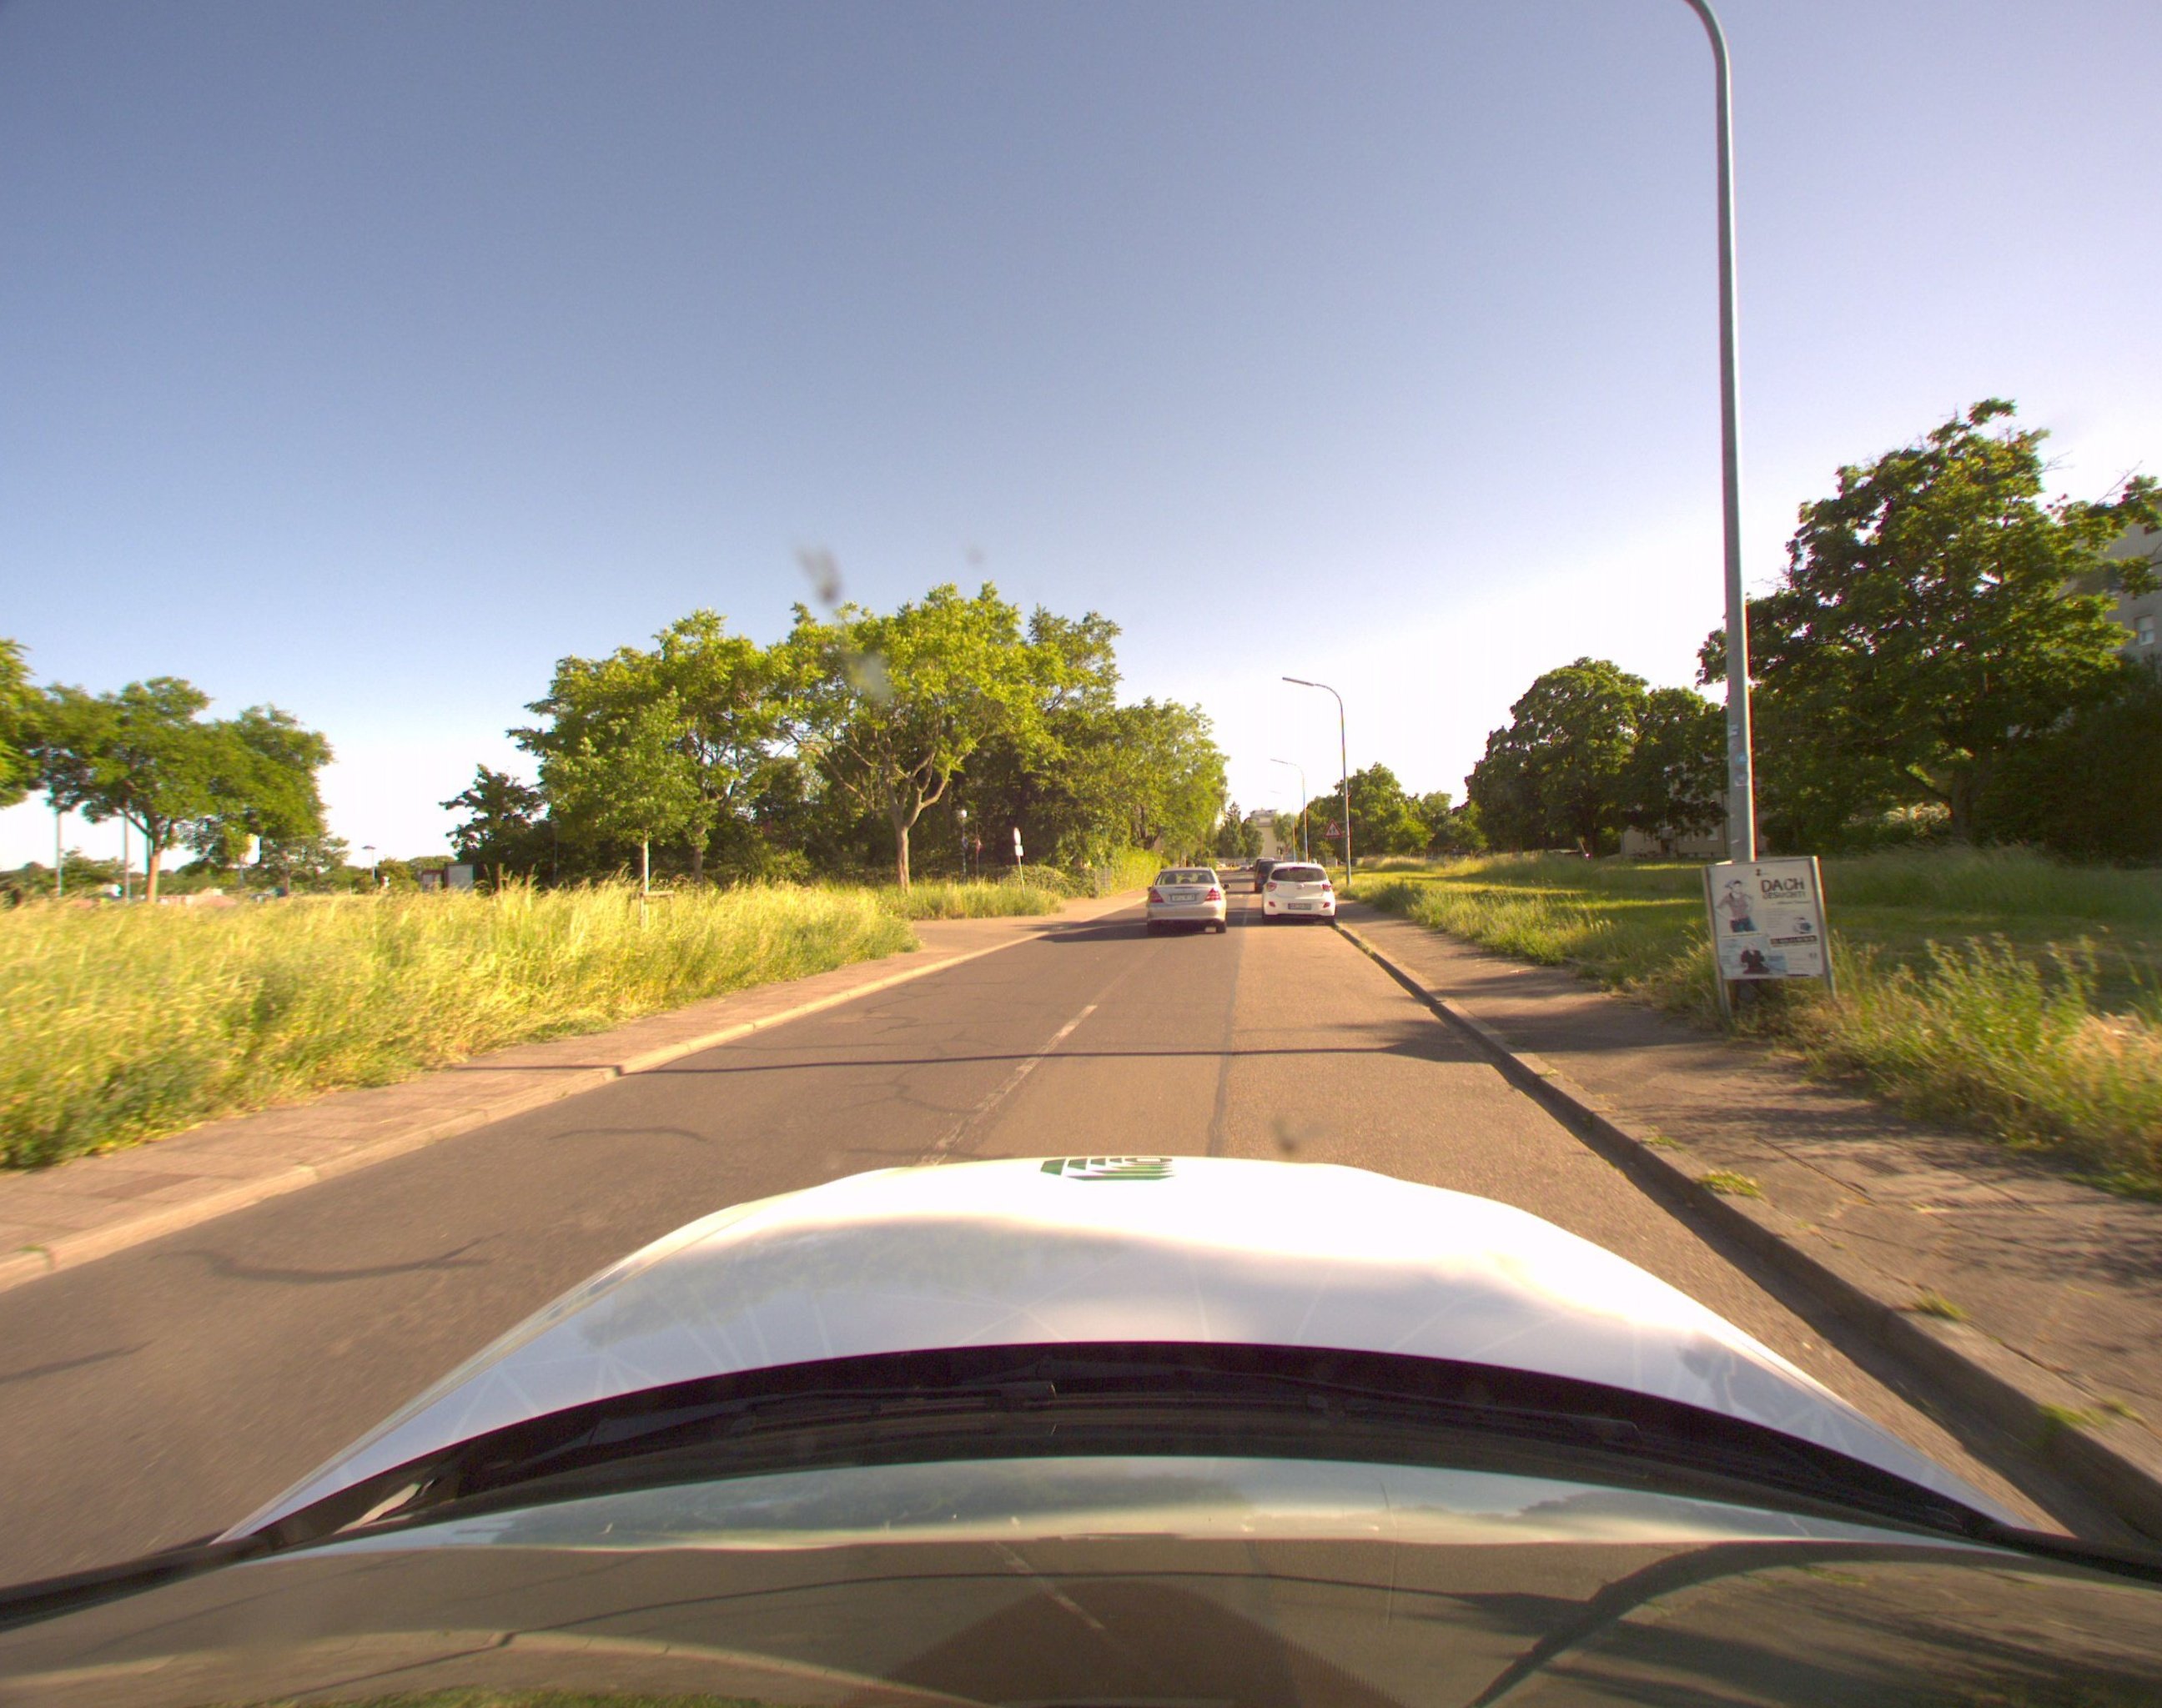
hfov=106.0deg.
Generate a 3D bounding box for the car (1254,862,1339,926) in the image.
[{"bbox_3d":[5.403,0.967,20.818,1.712,1.479,3.749,-1,-1,9],"label":"car"}]

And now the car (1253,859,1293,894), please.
[{"bbox_3d":[9.524,1.066,40.703,1.688,1.610,4.011,-2,-1,10],"label":"car"}]

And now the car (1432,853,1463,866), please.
[{"bbox_3d":[49.169,0.740,109.294,3.668,1.618,1.709,-3,-4,27],"label":"car"}]

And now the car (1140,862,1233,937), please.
[{"bbox_3d":[2.477,0.974,18.630,1.805,1.463,4.371,-2,-2,9],"label":"car"}]

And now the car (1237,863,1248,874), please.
[{"bbox_3d":[29.079,2.673,146.383,1.872,1.728,4.012,-2,-3,11],"label":"car"}]

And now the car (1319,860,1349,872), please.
[{"bbox_3d":[36.051,1.751,116.064,3.668,1.442,1.709,-3,-4,27],"label":"car"}]

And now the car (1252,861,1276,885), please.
[{"bbox_3d":[13.948,1.420,62.188,1.687,1.760,3.862,0,0,11],"label":"car"}]

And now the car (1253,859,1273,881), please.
[{"bbox_3d":[16.188,1.394,72.475,1.687,1.852,3.862,0,0,11],"label":"car"}]
